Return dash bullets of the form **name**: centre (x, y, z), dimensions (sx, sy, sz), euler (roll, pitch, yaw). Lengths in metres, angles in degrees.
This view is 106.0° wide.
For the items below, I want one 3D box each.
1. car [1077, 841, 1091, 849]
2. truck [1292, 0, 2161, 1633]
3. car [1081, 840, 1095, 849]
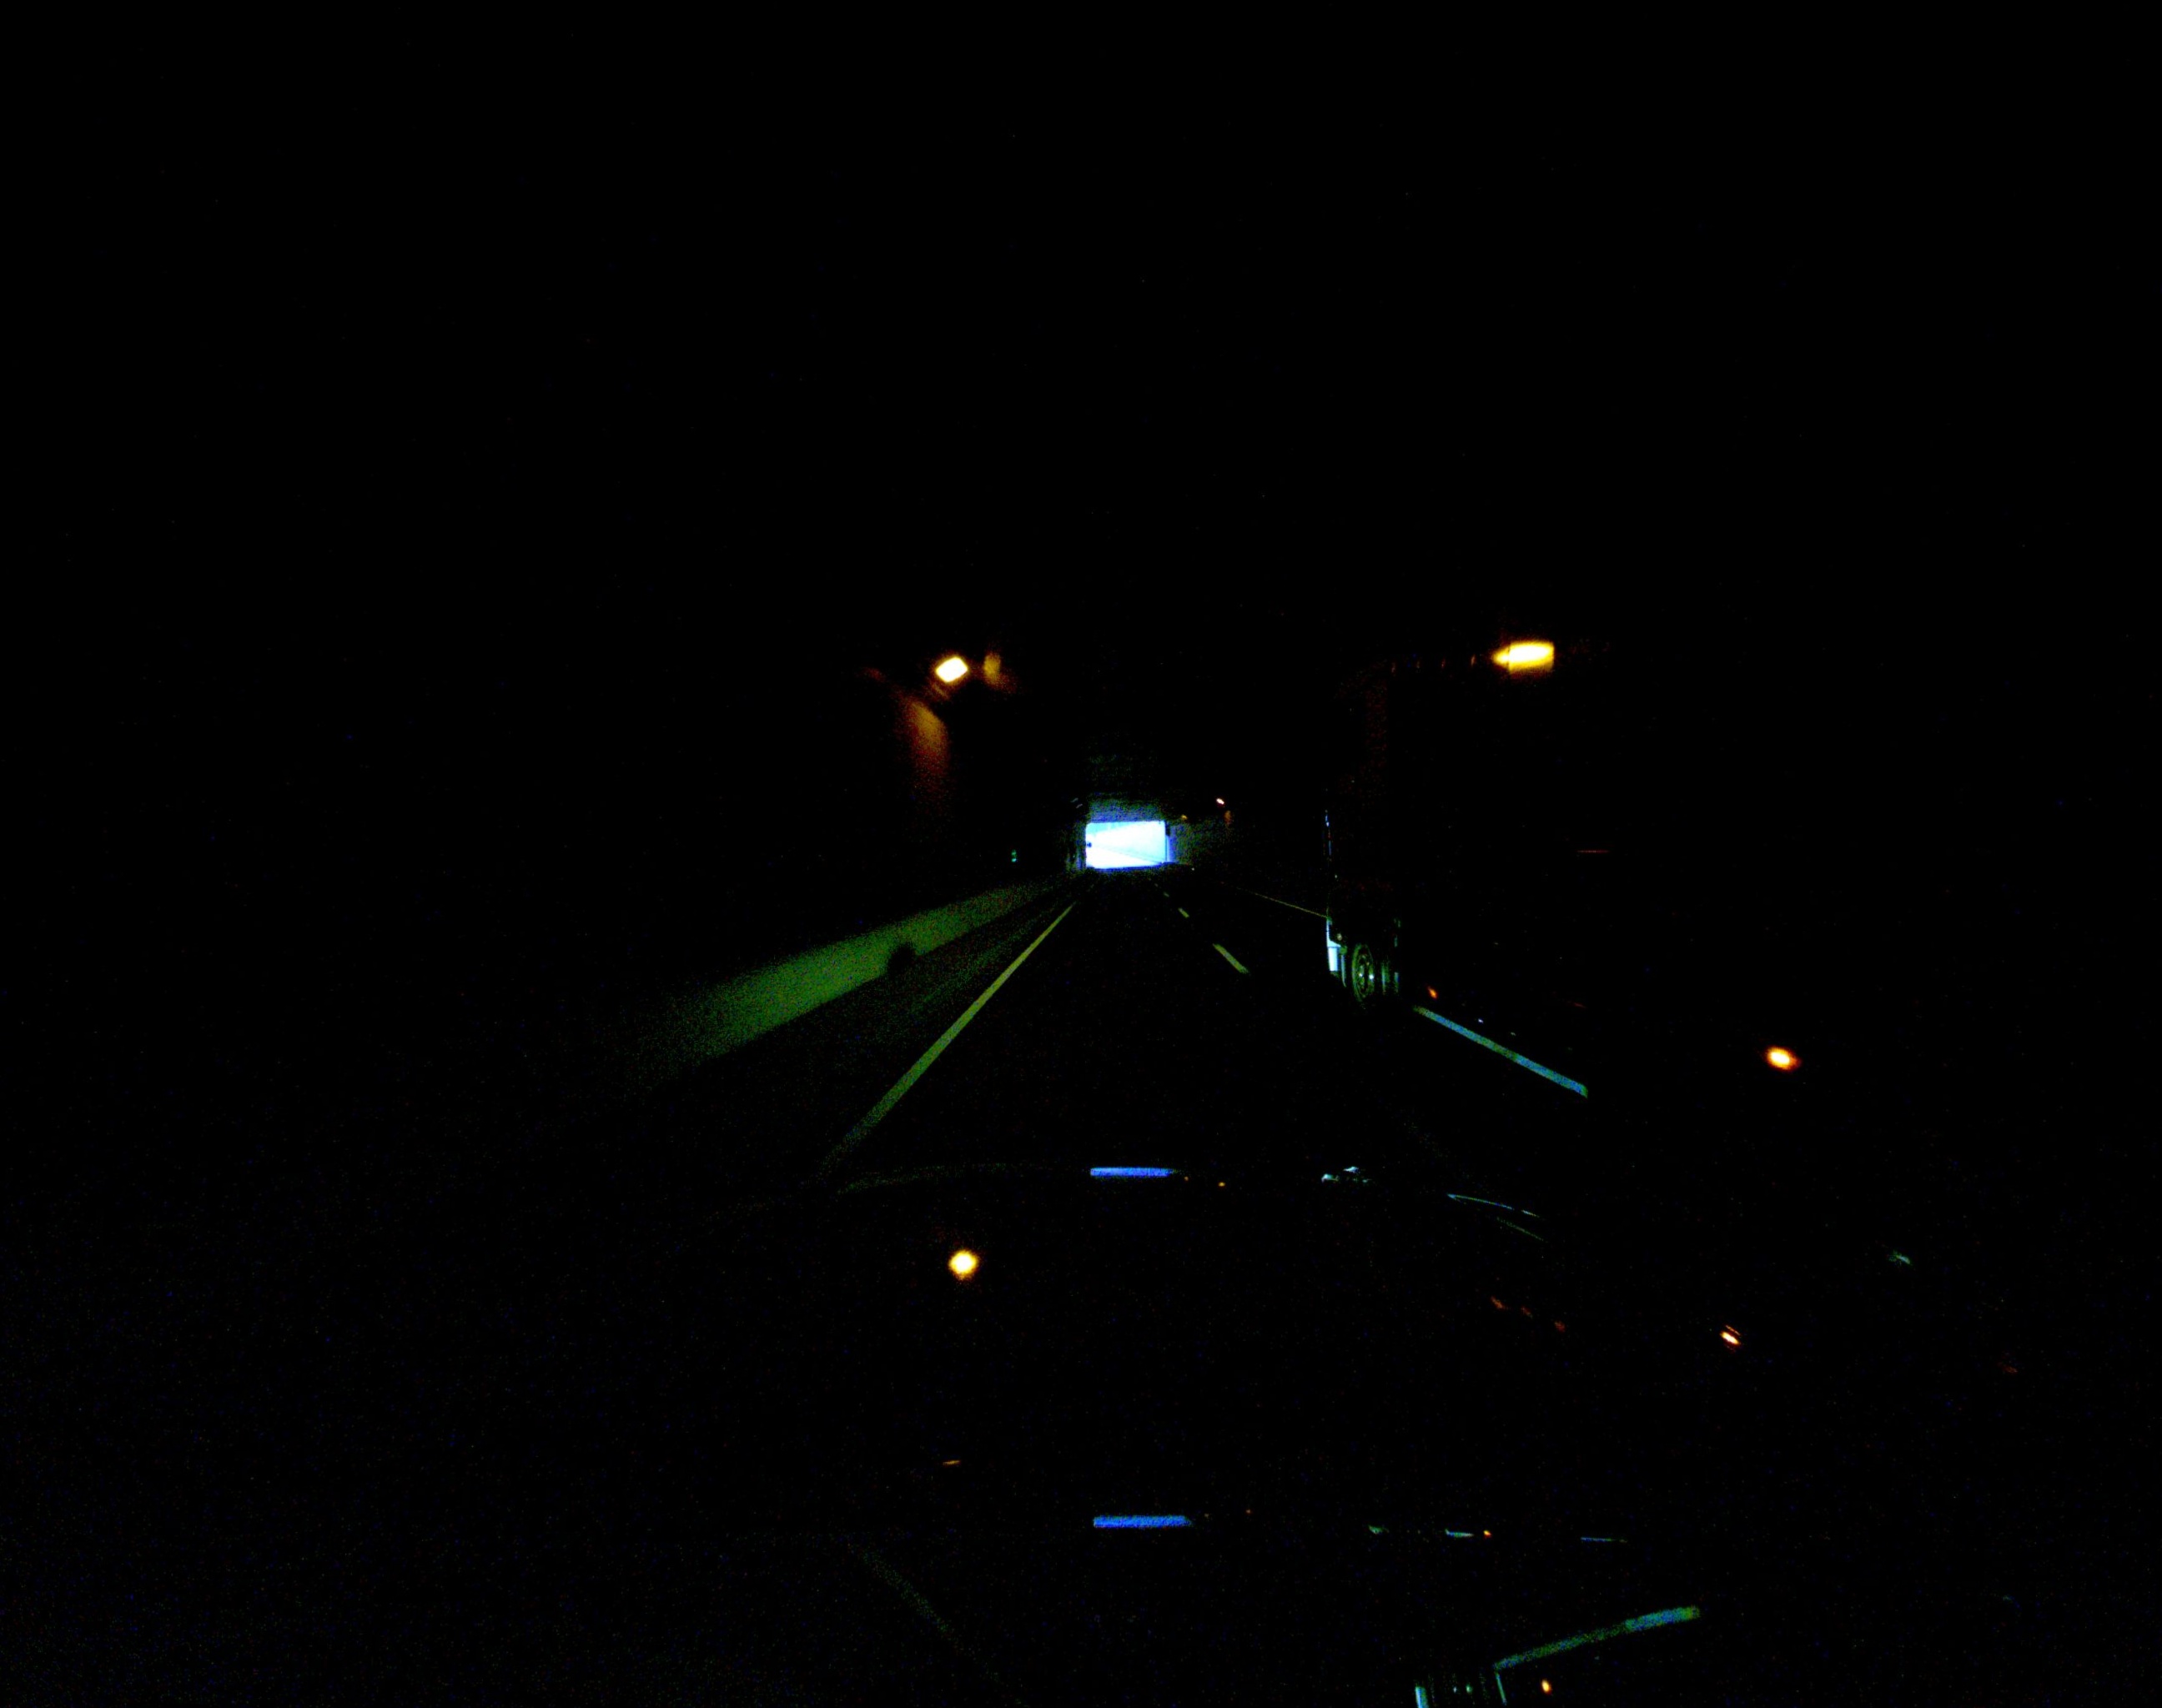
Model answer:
- **car**: centre (0.530, -1.567, 142.774), dimensions (1.839, 1.388, 3.990), euler (-2, -1, -7)
- **truck**: centre (3.465, -0.563, 3.432), dimensions (2.877, 3.913, 9.915), euler (-2, 0, 2)
- **car**: centre (1.297, -1.808, 156.111), dimensions (1.869, 1.732, 3.986), euler (-2, -1, -10)
